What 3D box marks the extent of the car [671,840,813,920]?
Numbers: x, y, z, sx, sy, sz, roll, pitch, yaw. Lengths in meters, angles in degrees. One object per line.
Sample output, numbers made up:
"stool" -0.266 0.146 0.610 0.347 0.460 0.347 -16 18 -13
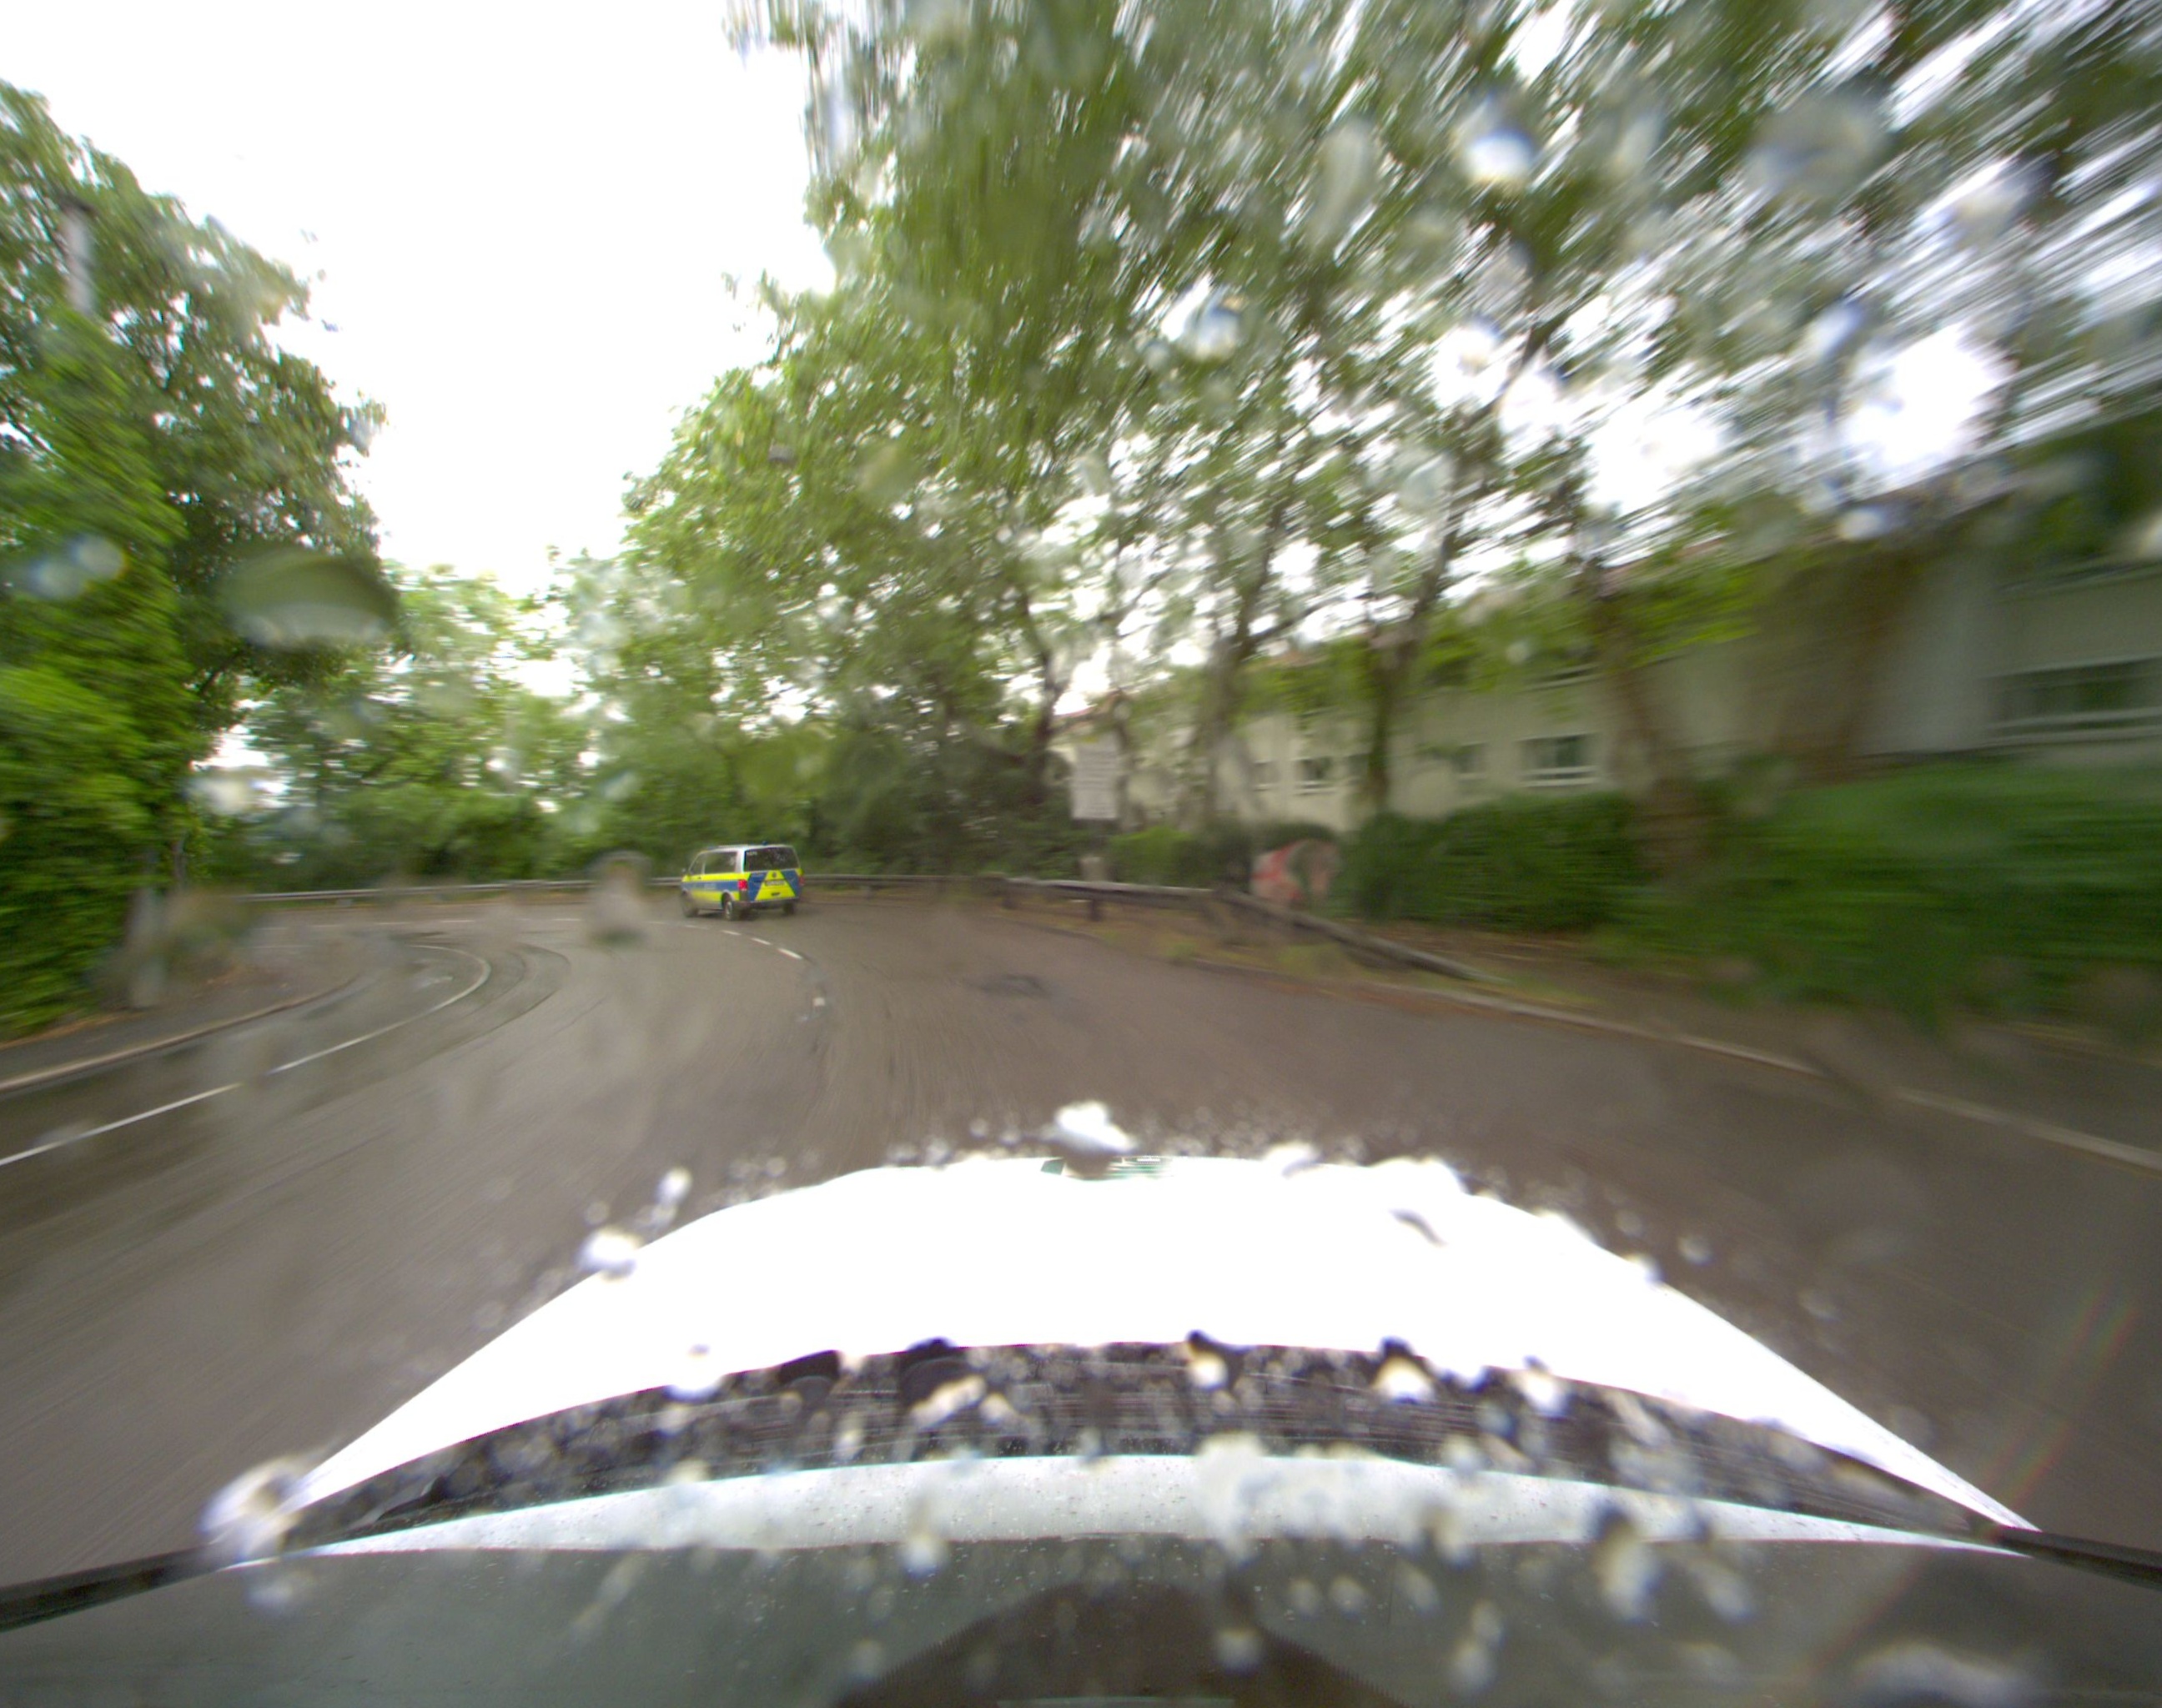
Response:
"car" -9.610 0.701 22.908 2.012 1.893 4.513 -6 3 -44
